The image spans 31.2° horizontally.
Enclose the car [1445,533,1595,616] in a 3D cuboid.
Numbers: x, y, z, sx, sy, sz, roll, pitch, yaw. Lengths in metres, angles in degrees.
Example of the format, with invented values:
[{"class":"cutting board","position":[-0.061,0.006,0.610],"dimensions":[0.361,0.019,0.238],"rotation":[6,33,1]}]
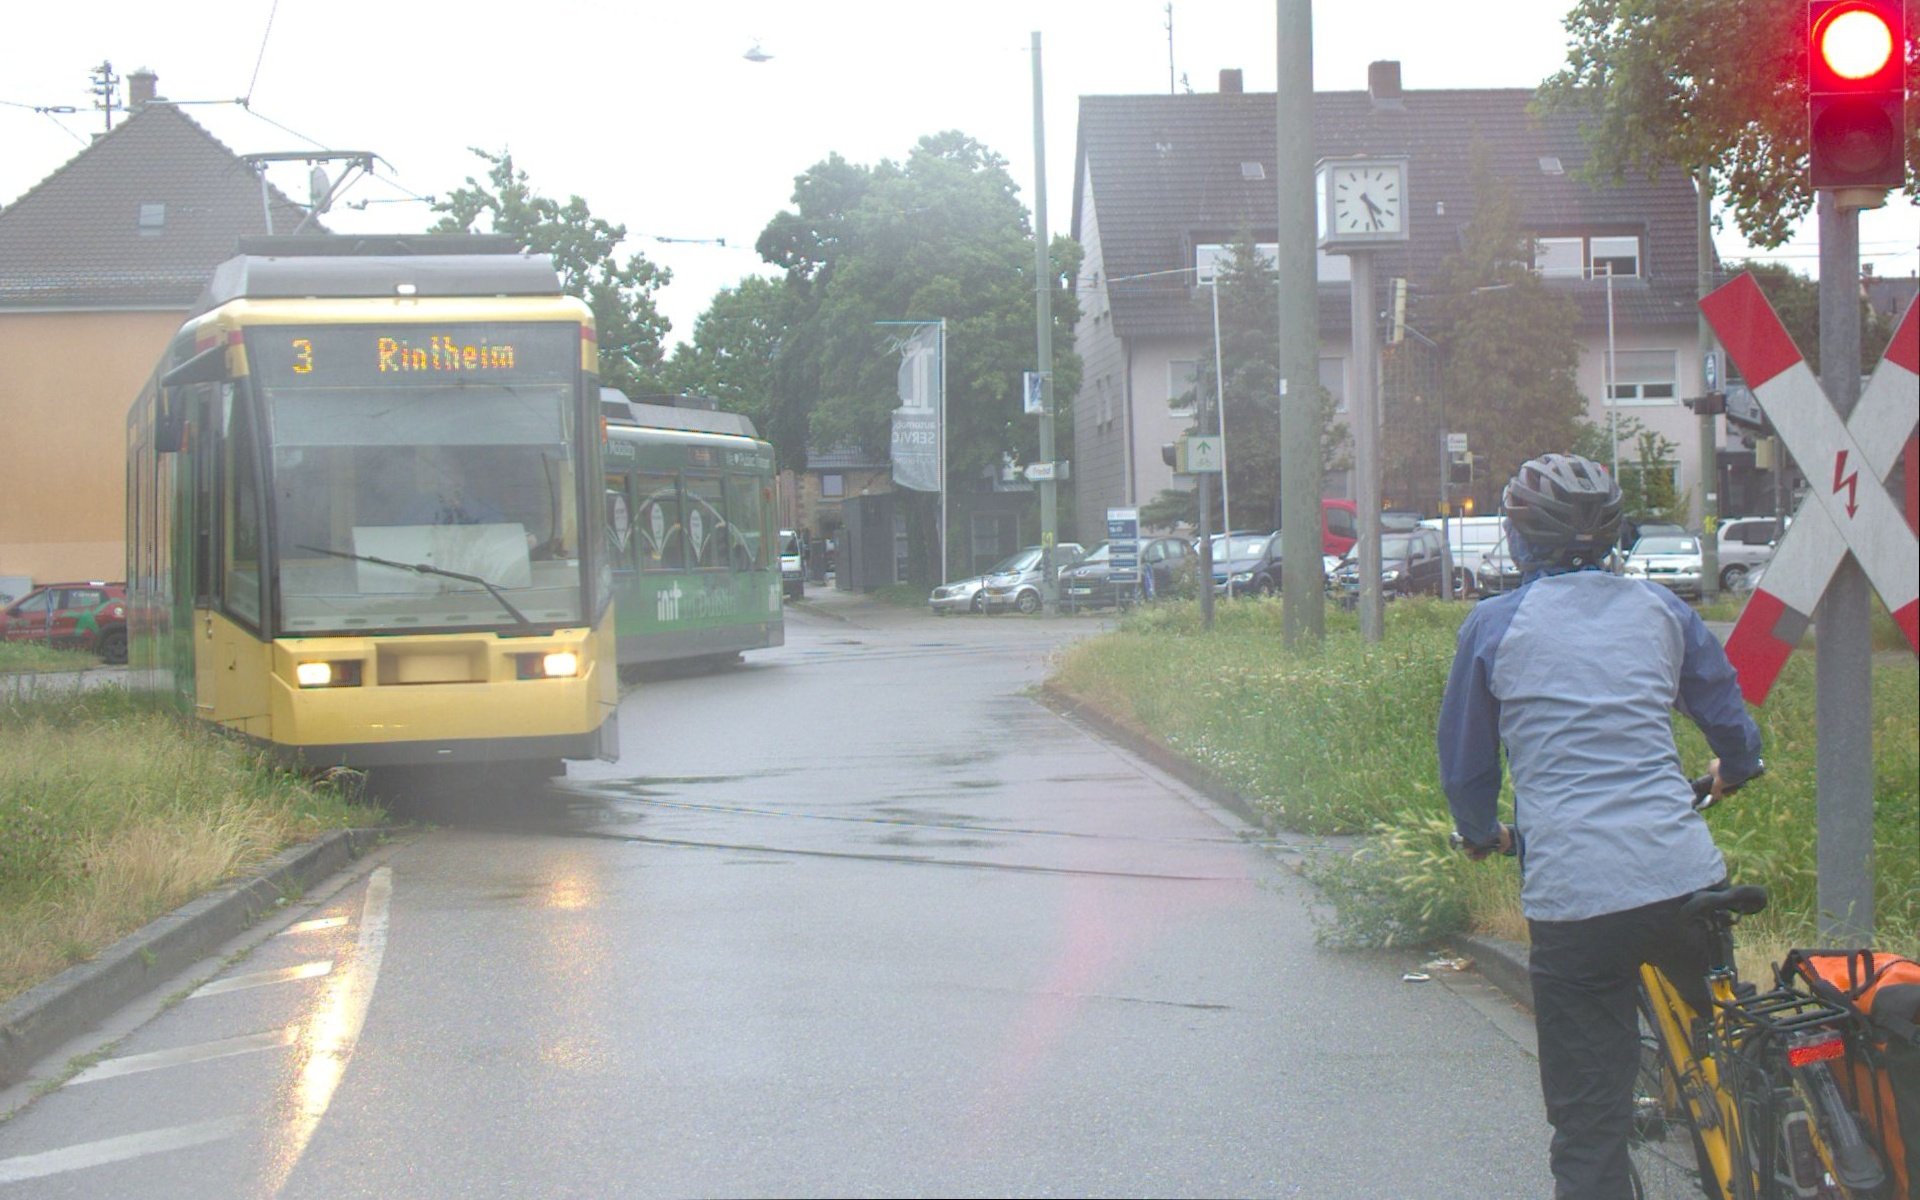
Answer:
[{"class":"car","position":[11.522,-0.520,70.577],"dimensions":[1.996,1.634,3.995],"rotation":[1,0,25]}]

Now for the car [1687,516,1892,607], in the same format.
[{"class":"car","position":[18.374,-0.846,76.274],"dimensions":[3.986,1.944,2.000],"rotation":[1,0,-2]}]

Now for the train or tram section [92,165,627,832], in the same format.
[{"class":"train or tram section","position":[-4.478,-0.635,24.511],"dimensions":[2.760,3.541,12.207],"rotation":[-1,1,-12]}]

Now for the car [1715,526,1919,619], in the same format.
[{"class":"car","position":[16.356,-0.520,65.106],"dimensions":[3.684,1.695,1.890],"rotation":[1,0,0]}]

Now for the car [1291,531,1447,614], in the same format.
[{"class":"car","position":[8.404,-0.562,70.357],"dimensions":[1.996,1.634,3.995],"rotation":[1,0,25]}]

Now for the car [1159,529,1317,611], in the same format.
[{"class":"car","position":[5.811,-0.609,71.525],"dimensions":[1.996,1.634,3.995],"rotation":[1,0,25]}]

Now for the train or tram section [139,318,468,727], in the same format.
[{"class":"train or tram section","position":[-6.167,-0.710,32.704],"dimensions":[2.760,3.541,4.989],"rotation":[-1,0,-9]}]

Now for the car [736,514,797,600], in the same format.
[{"class":"car","position":[-6.066,-1.349,108.050],"dimensions":[1.804,2.618,4.000],"rotation":[1,0,-3]}]

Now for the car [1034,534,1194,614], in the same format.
[{"class":"car","position":[3.298,-0.544,72.771],"dimensions":[1.996,1.634,3.995],"rotation":[1,0,25]}]

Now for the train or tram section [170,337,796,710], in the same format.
[{"class":"train or tram section","position":[-4.952,-0.822,39.701],"dimensions":[2.762,3.541,13.126],"rotation":[-1,1,12]}]

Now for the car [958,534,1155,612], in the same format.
[{"class":"car","position":[2.177,-0.602,76.862],"dimensions":[3.987,1.670,2.000],"rotation":[0,0,-36]}]

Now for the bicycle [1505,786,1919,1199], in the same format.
[{"class":"bicycle","position":[1.350,0.899,6.071],"dimensions":[0.446,1.001,1.728],"rotation":[-1,1,-2]}]

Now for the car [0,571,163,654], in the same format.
[{"class":"car","position":[-16.665,0.217,62.597],"dimensions":[3.986,1.451,1.834],"rotation":[1,0,-6]}]

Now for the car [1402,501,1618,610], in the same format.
[{"class":"car","position":[12.171,-0.989,76.235],"dimensions":[4.395,2.317,2.000],"rotation":[1,0,-2]}]

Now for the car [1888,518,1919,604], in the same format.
[{"class":"car","position":[20.946,-0.798,72.255],"dimensions":[1.994,1.784,4.000],"rotation":[1,0,4]}]

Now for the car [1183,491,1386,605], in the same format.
[{"class":"car","position":[7.549,-1.203,79.800],"dimensions":[4.398,2.557,1.999],"rotation":[1,0,14]}]

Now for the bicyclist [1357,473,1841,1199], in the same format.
[{"class":"bicyclist","position":[1.112,0.600,6.153],"dimensions":[0.667,1.620,0.853],"rotation":[1,0,-2]}]

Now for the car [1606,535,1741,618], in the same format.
[{"class":"car","position":[14.752,-0.478,70.968],"dimensions":[1.843,1.634,3.995],"rotation":[1,0,25]}]

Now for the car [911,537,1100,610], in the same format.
[{"class":"car","position":[1.067,-0.610,79.931],"dimensions":[3.987,1.637,2.000],"rotation":[0,0,-36]}]
